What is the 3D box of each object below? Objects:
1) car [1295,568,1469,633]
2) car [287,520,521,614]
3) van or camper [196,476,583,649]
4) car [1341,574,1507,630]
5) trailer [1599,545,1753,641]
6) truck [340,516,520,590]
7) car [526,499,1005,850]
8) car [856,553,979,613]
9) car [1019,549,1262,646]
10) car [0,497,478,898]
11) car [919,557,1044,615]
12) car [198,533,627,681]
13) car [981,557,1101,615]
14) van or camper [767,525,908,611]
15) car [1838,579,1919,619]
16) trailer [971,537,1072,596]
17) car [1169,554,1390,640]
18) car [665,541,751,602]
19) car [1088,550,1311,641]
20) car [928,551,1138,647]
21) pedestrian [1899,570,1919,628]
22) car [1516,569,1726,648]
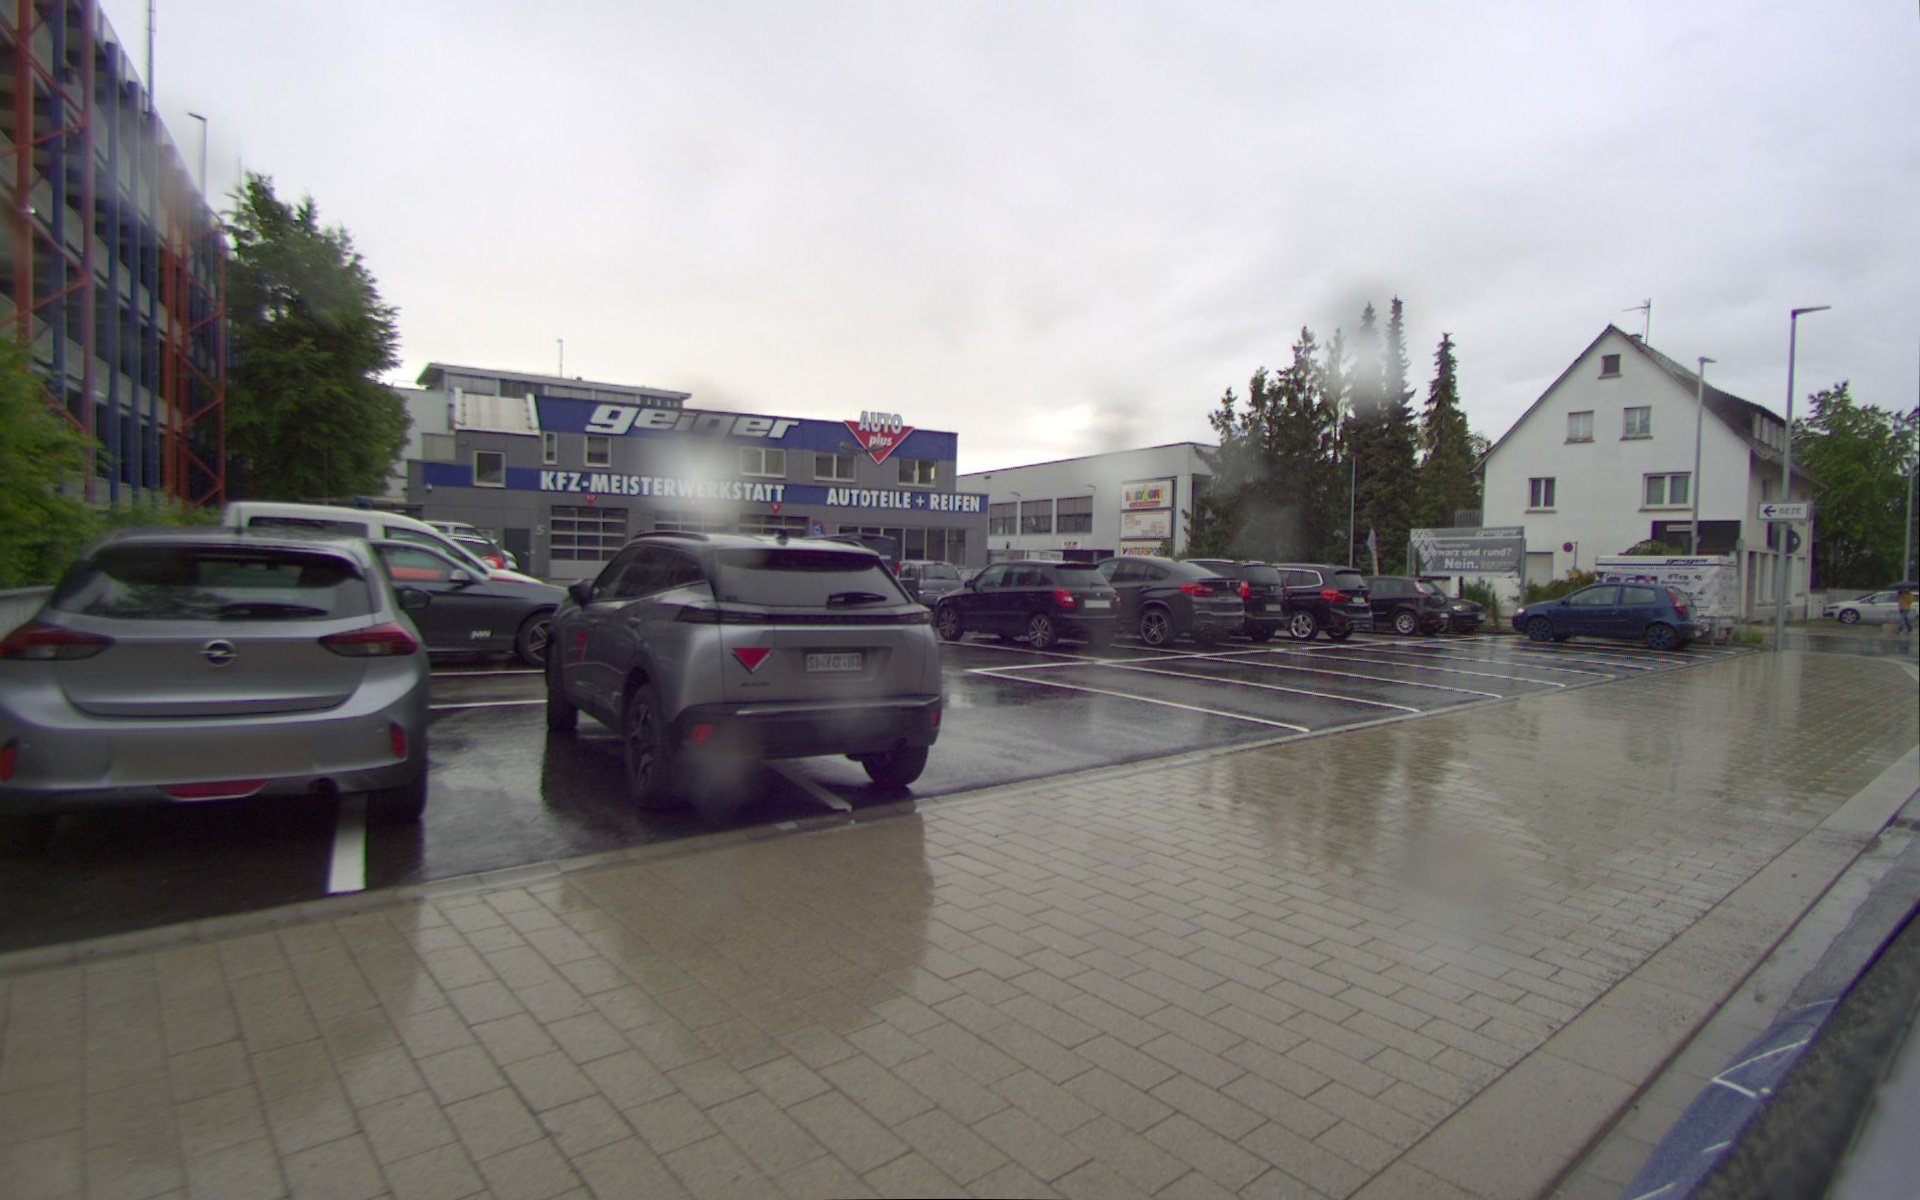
[{"bbox_3d":[10.755,-0.027,25.924,1.702,1.467,3.730,0,3,-43],"label":"car"},{"bbox_3d":[-11.034,-0.639,20.293,3.919,1.699,1.739,1,3,-29],"label":"car"},{"bbox_3d":[-7.667,-0.471,13.981,4.371,2.062,1.846,0,2,-30],"label":"van or camper"},{"bbox_3d":[12.544,0.008,27.509,1.665,1.331,3.730,0,3,-43],"label":"car"},{"bbox_3d":[17.413,-0.213,24.669,1.520,2.198,2.709,0,2,-38],"label":"trailer"},{"bbox_3d":[-17.855,-1.583,34.181,5.203,2.298,2.001,-2,0,-31],"label":"truck"},{"bbox_3d":[-1.688,0.212,7.105,1.960,1.669,4.228,0,4,-31],"label":"car"},{"bbox_3d":[-1.382,-0.562,30.949,1.828,1.602,4.375,1,3,-32],"label":"car"},{"bbox_3d":[3.322,-0.129,19.345,1.808,1.578,4.363,0,3,-42],"label":"car"},{"bbox_3d":[-3.924,0.272,5.749,1.770,1.513,3.637,0,3,-31],"label":"car"},{"bbox_3d":[0.587,-0.482,31.941,1.828,1.602,4.375,1,3,-32],"label":"car"},{"bbox_3d":[-6.268,0.038,11.894,4.124,1.460,1.940,0,2,-33],"label":"car"},{"bbox_3d":[2.619,-0.491,33.558,1.828,1.687,4.146,1,3,-32],"label":"car"},{"bbox_3d":[-3.778,-1.020,30.292,2.179,2.354,4.976,1,3,-33],"label":"van or camper"},{"bbox_3d":[43.094,-0.018,46.333,4.118,1.599,1.975,5,3,36],"label":"car"},{"bbox_3d":[3.186,-1.721,53.861,2.875,2.770,5.898,-2,0,-24],"label":"trailer"},{"bbox_3d":[7.009,-0.137,22.537,1.813,1.672,4.362,0,3,-42],"label":"car"},{"bbox_3d":[-8.470,-0.907,33.755,1.905,1.839,4.005,-2,0,-26],"label":"car"},{"bbox_3d":[4.920,-0.178,21.311,1.754,1.679,4.365,0,3,-40],"label":"car"},{"bbox_3d":[1.205,-0.088,18.002,1.613,1.519,3.695,0,2,-40],"label":"car"},{"bbox_3d":[34.459,-0.025,36.336,1.175,2.038,0.860,0,4,-43],"label":"pedestrian"},{"bbox_3d":[15.249,0.125,23.498,1.621,1.547,3.734,-1,4,-40],"label":"car"}]
